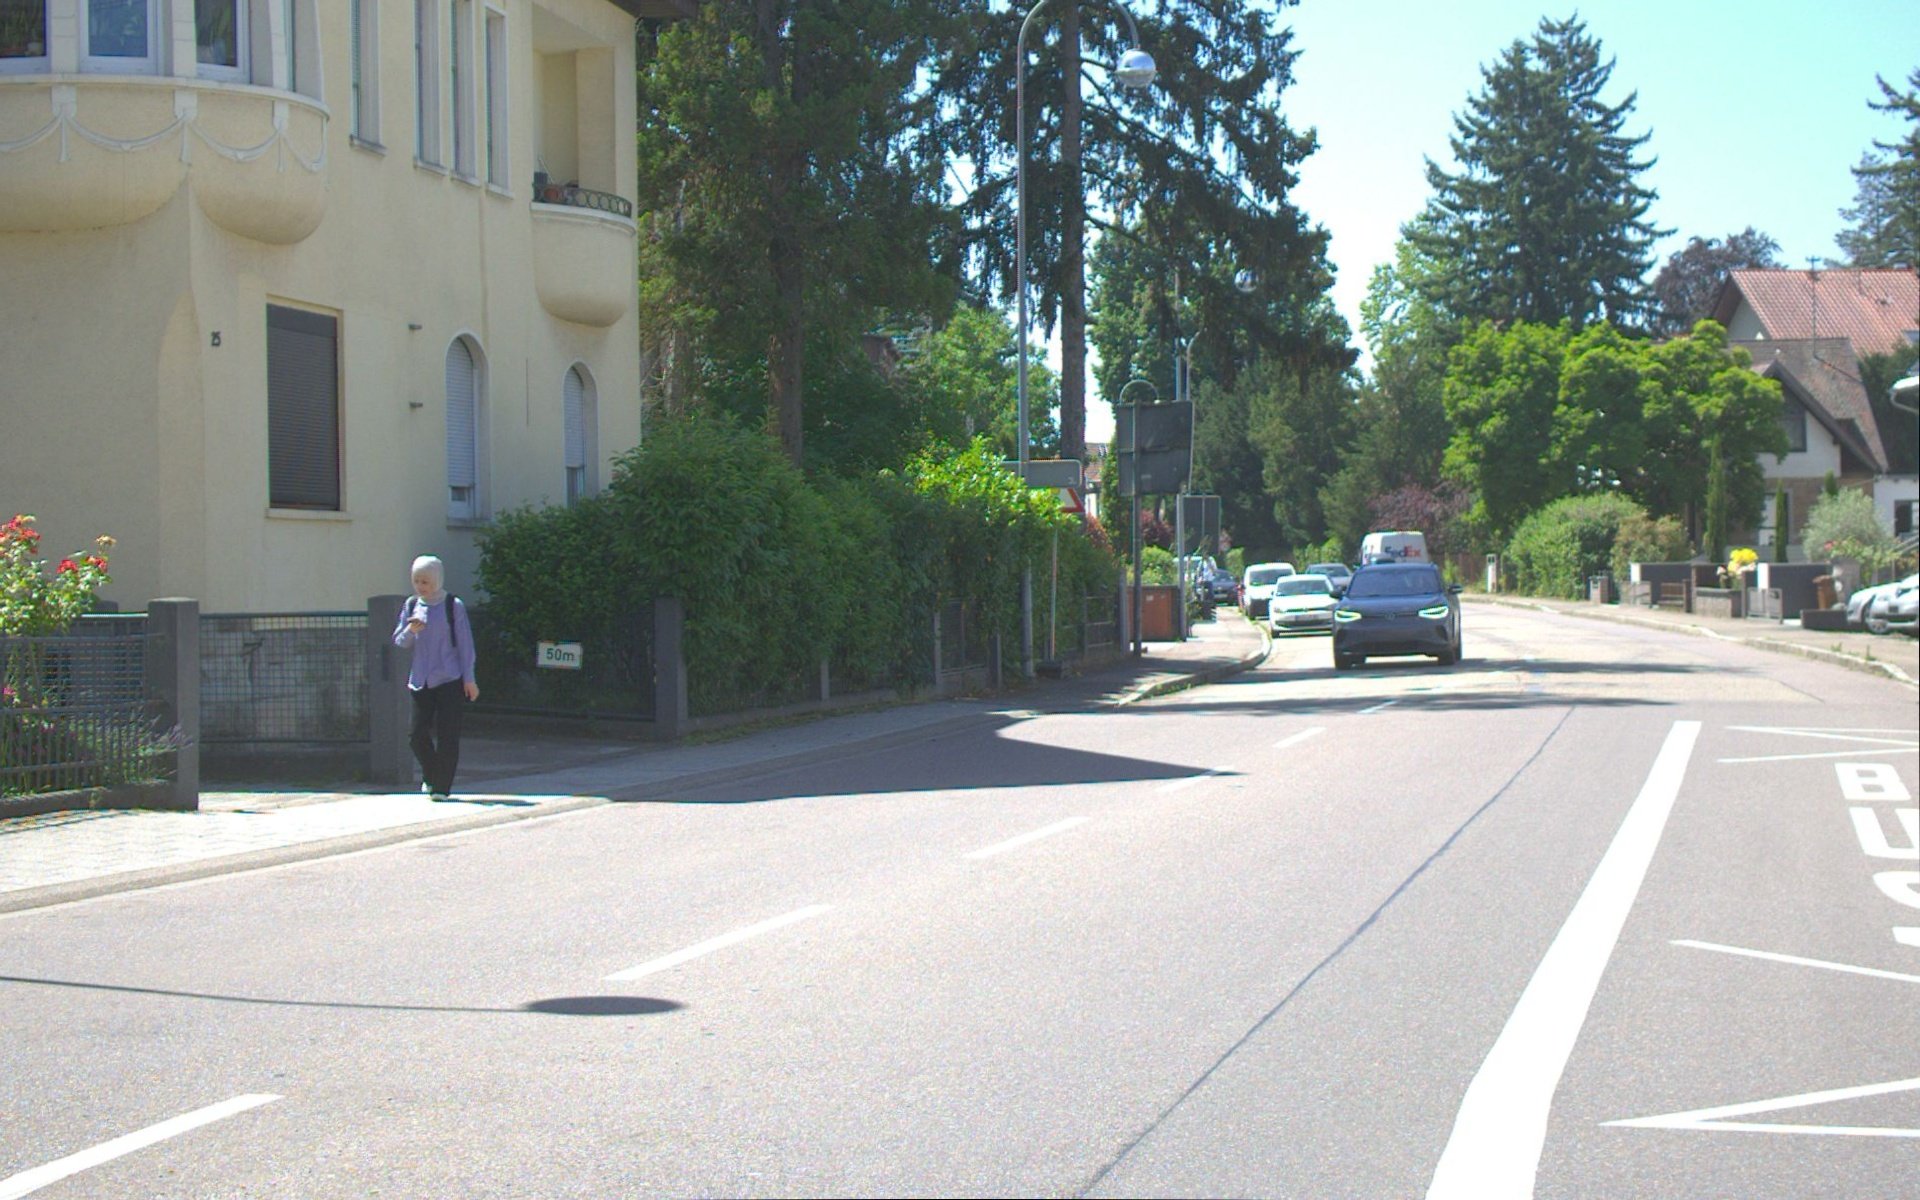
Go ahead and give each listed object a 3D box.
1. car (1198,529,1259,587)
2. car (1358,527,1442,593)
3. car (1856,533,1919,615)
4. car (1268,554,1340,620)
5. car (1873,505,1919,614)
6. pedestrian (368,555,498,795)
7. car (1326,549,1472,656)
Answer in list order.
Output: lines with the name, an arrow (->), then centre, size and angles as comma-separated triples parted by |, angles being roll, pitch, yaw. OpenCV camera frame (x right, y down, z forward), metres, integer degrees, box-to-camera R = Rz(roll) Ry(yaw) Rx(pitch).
car -> 8.648, -1.372, 110.826 | 1.723, 1.730, 3.887 | -3, 1, 3
car -> 16.254, -1.505, 127.210 | 2.143, 2.307, 4.853 | -3, 1, -3
car -> 18.467, -0.401, 61.190 | 4.641, 1.404, 1.768 | 2, 1, 8
car -> 8.243, -0.328, 82.645 | 1.578, 1.418, 3.940 | -3, 1, 5
car -> 17.953, -0.635, 58.515 | 4.290, 1.824, 1.739 | 2, 1, -1
pedestrian -> -3.486, 0.481, 22.785 | 0.613, 1.559, 0.824 | 0, 1, 11
car -> 6.982, 0.002, 54.340 | 1.854, 1.611, 4.294 | 0, 1, 13
